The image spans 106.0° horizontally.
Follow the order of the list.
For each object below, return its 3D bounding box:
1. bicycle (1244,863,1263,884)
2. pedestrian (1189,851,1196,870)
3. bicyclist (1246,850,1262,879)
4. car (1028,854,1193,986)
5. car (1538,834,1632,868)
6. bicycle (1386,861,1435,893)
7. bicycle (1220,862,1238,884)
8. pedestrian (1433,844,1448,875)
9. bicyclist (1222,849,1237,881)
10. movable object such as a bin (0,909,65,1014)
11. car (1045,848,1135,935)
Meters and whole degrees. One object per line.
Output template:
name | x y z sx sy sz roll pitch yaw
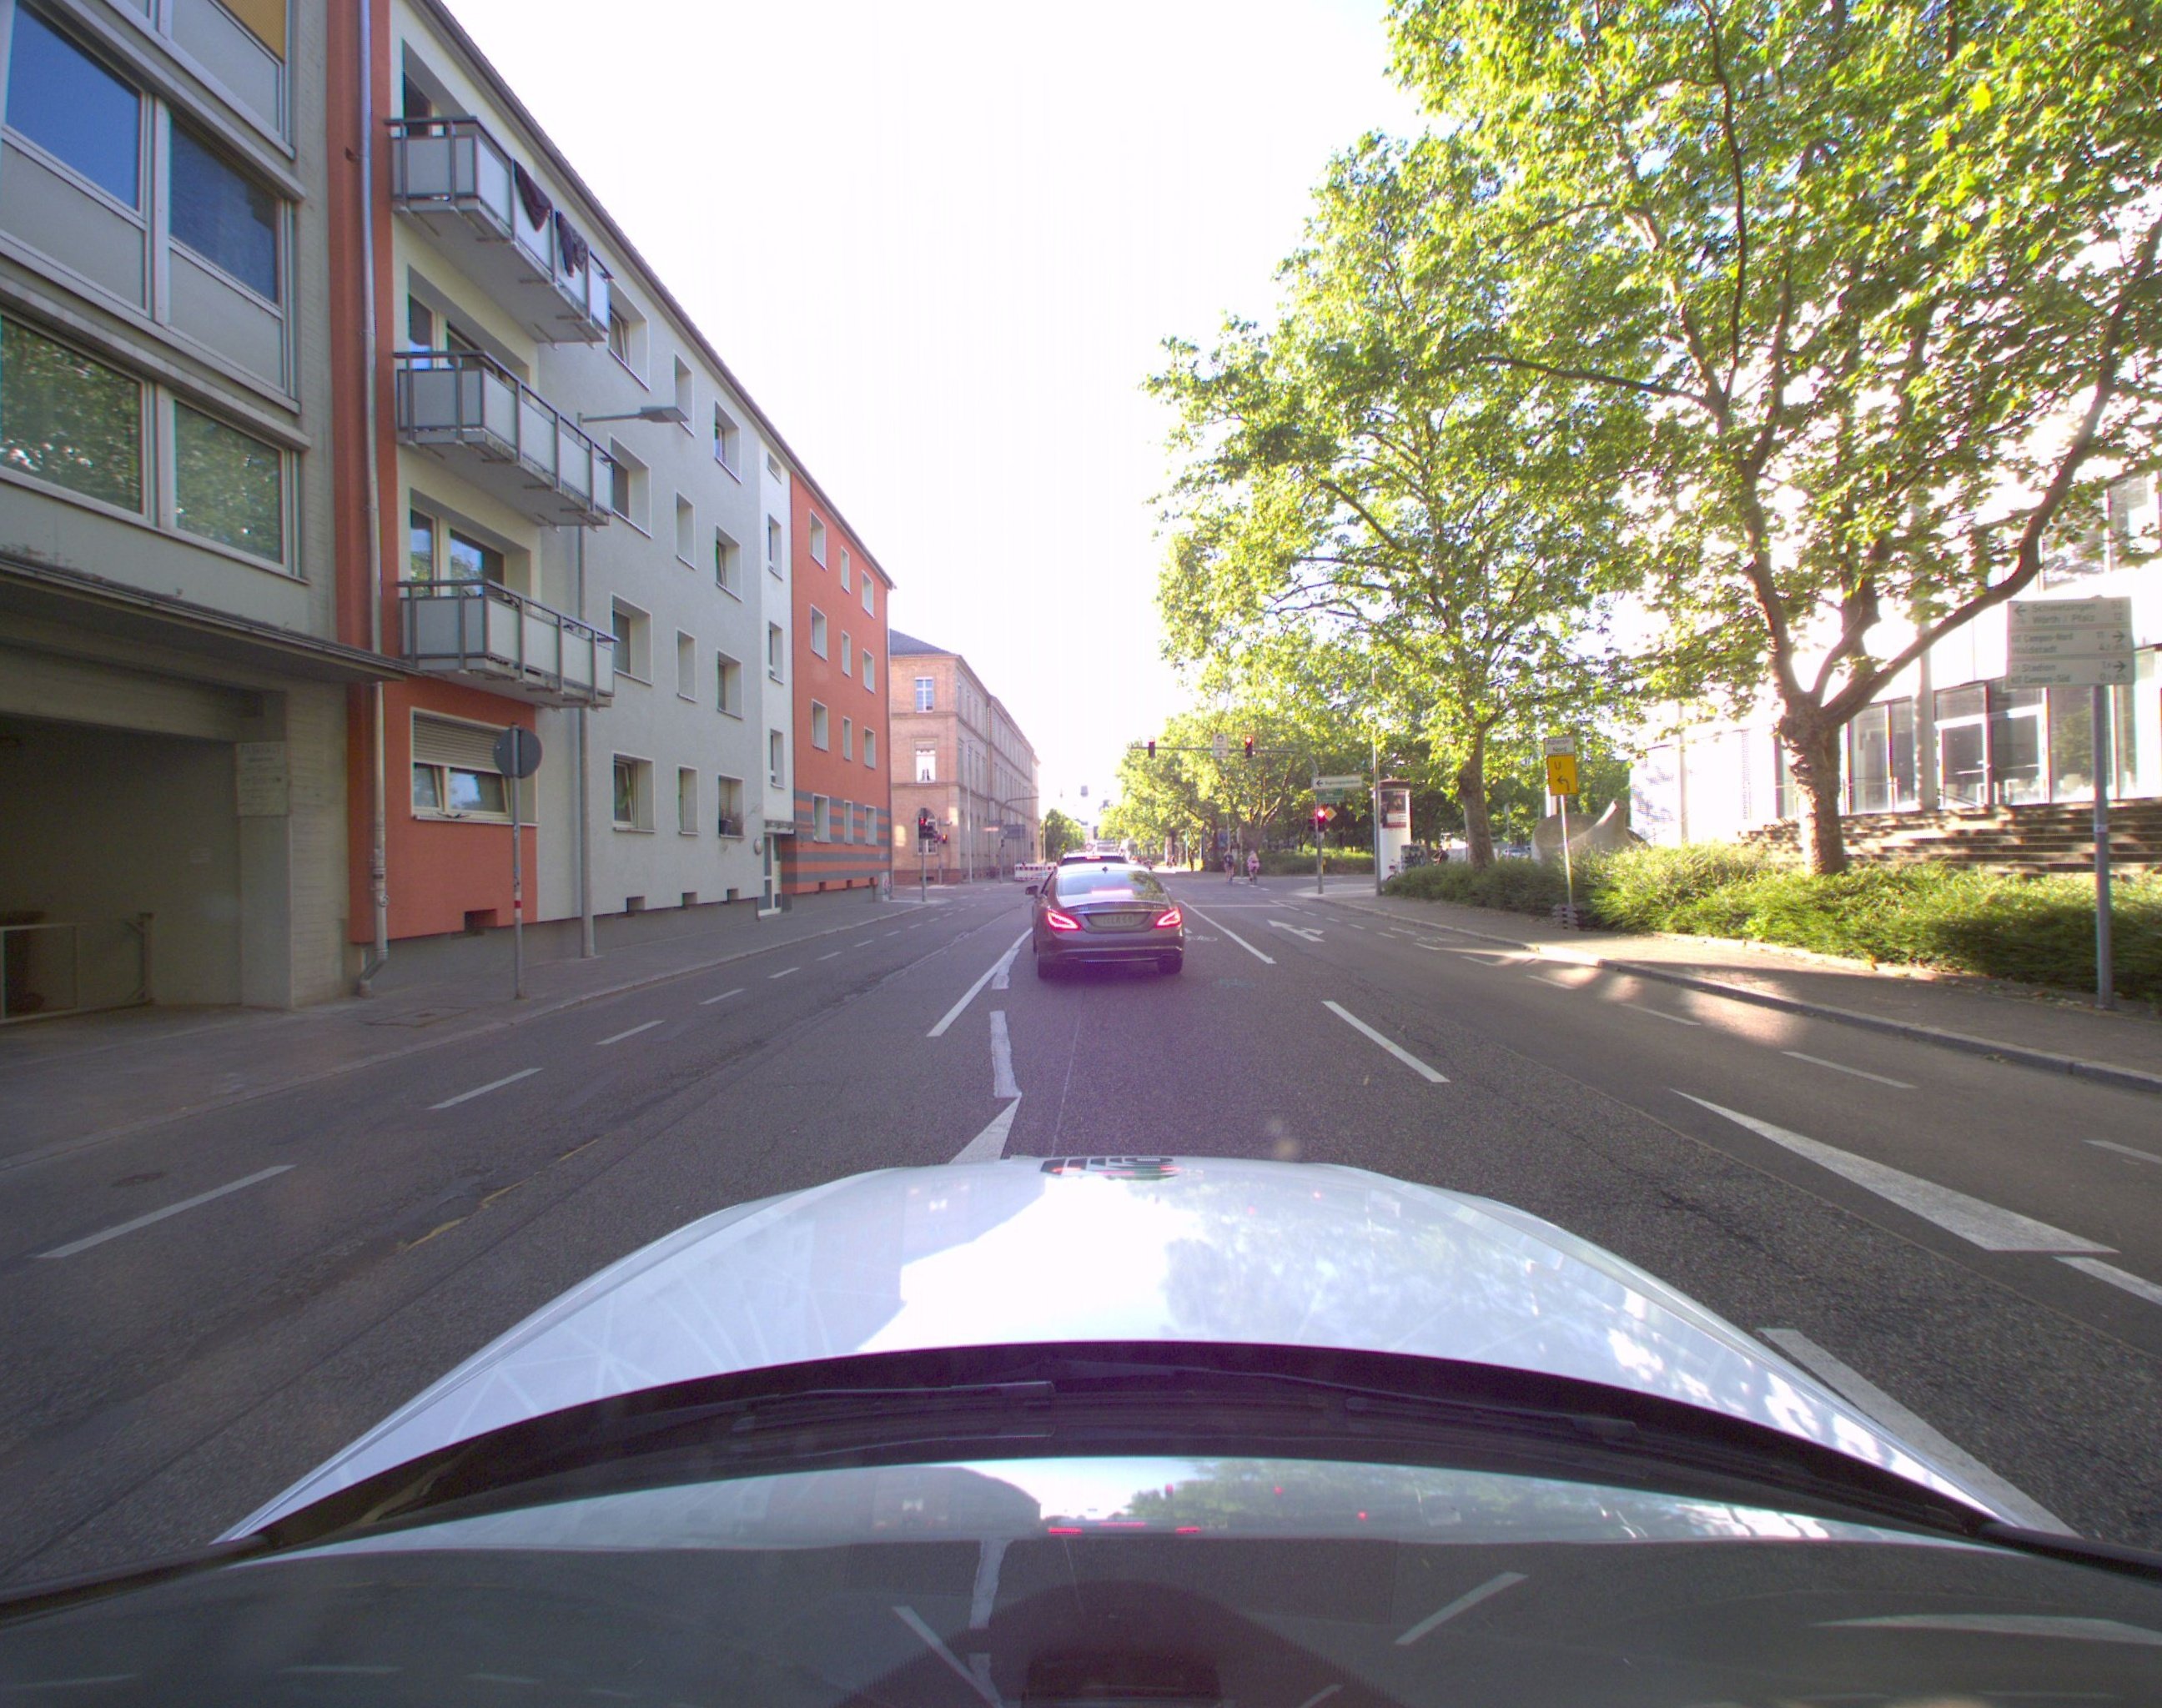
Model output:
bicycle | 8.366 0.928 39.554 0.598 0.985 1.882 1 0 2
pedestrian | 10.384 0.599 76.078 0.557 1.678 0.565 -1 0 1
bicyclist | 8.376 0.510 39.529 0.598 1.402 0.931 1 0 2
car | 0.207 0.766 11.568 1.818 1.476 4.345 -1 0 -5
car | 27.965 -0.175 45.333 3.975 1.784 2.004 -1 0 7
bicycle | 10.981 0.753 27.134 1.411 1.037 0.538 -1 0 -2
bicycle | 7.167 0.895 39.406 0.608 1.026 1.732 0 0 2
pedestrian | 21.036 0.332 47.681 0.617 1.784 0.631 -1 0 4
bicyclist | 7.156 0.533 39.269 0.608 1.516 0.890 0 0 2
movable object such as a bin | -11.273 1.115 8.436 0.584 1.040 0.712 -1 0 2
car | 0.195 0.718 17.368 1.676 1.625 3.841 -1 0 1
